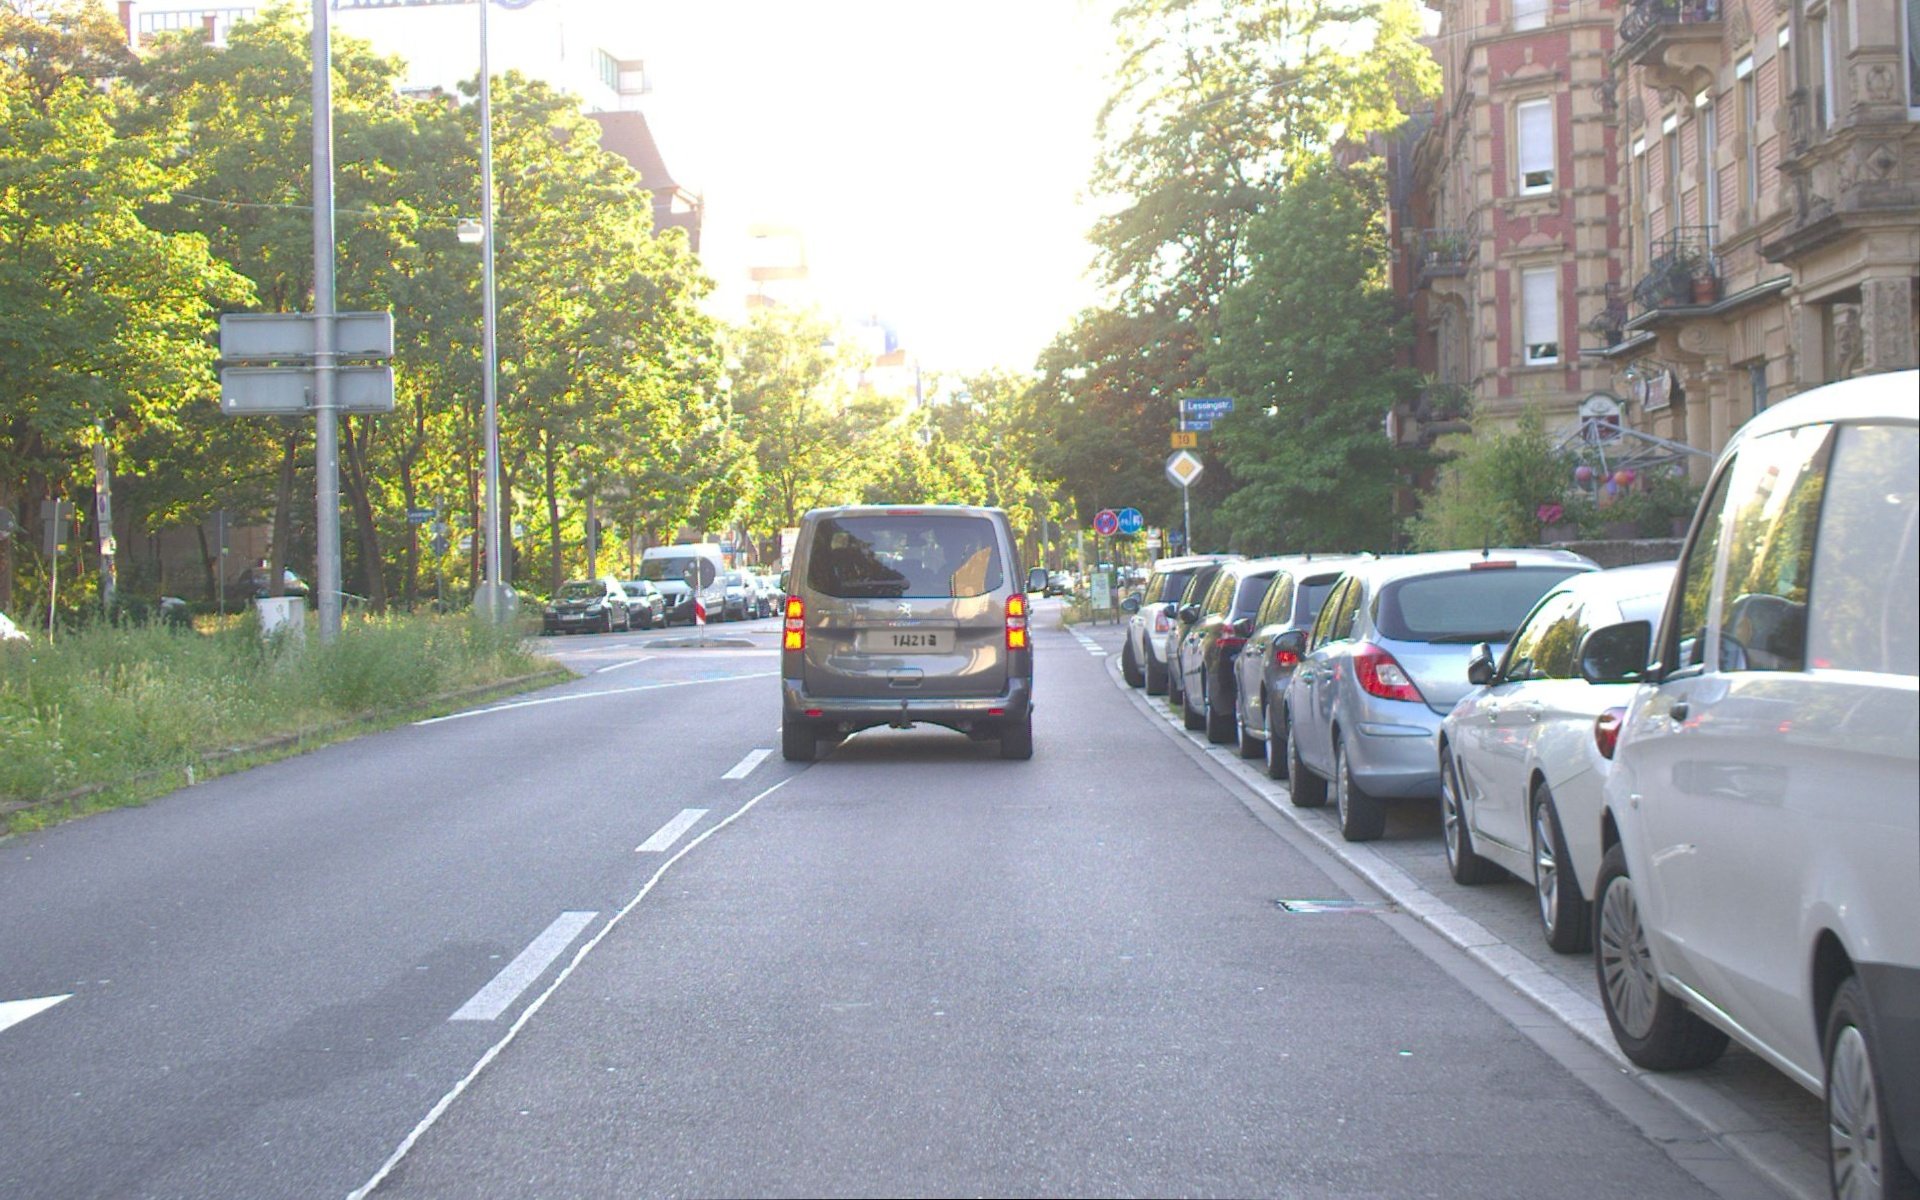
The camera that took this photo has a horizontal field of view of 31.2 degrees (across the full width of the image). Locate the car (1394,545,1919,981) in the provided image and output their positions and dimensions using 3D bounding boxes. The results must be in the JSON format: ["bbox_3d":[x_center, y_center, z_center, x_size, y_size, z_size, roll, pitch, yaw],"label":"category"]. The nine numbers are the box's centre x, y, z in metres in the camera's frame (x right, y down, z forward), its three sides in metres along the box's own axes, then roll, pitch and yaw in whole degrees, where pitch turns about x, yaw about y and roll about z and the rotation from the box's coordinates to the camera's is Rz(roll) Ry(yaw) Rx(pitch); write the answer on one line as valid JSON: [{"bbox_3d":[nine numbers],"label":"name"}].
[{"bbox_3d":[2.967,0.533,14.107,1.728,1.380,4.643,-4,0,1],"label":"car"}]

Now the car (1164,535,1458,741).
[{"bbox_3d":[2.827,0.275,28.599,1.887,1.443,4.464,-4,0,0],"label":"car"}]

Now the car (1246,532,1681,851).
[{"bbox_3d":[2.699,0.446,19.257,1.700,1.482,3.893,-4,0,-1],"label":"car"}]

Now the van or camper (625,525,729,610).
[{"bbox_3d":[-8.597,-1.001,104.868,2.091,2.460,6.304,-2,0,5],"label":"van or camper"}]

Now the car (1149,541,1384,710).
[{"bbox_3d":[2.951,0.218,33.911,1.887,1.421,4.342,-4,0,1],"label":"car"}]

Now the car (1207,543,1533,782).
[{"bbox_3d":[2.796,0.386,24.192,1.747,1.421,3.840,-4,0,0],"label":"car"}]

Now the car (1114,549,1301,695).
[{"bbox_3d":[2.708,0.223,38.266,1.677,1.421,3.677,-4,0,-1],"label":"car"}]

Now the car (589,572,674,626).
[{"bbox_3d":[-9.289,-0.048,97.507,1.628,1.424,4.242,-2,1,5],"label":"car"}]

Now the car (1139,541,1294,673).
[{"bbox_3d":[3.183,0.067,43.260,1.726,1.460,3.546,-4,0,2],"label":"car"}]

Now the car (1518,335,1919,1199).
[{"bbox_3d":[2.671,0.416,8.246,1.887,1.912,5.179,-4,0,2],"label":"car"}]

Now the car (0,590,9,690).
[{"bbox_3d":[-13.062,0.586,41.710,1.774,1.269,4.008,-4,0,1],"label":"car"}]

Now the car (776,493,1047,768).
[{"bbox_3d":[-0.345,0.197,26.505,1.887,1.918,3.839,-2,1,0],"label":"car"}]

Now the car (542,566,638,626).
[{"bbox_3d":[-9.844,-0.126,91.767,1.624,1.501,4.543,-1,0,6],"label":"car"}]
